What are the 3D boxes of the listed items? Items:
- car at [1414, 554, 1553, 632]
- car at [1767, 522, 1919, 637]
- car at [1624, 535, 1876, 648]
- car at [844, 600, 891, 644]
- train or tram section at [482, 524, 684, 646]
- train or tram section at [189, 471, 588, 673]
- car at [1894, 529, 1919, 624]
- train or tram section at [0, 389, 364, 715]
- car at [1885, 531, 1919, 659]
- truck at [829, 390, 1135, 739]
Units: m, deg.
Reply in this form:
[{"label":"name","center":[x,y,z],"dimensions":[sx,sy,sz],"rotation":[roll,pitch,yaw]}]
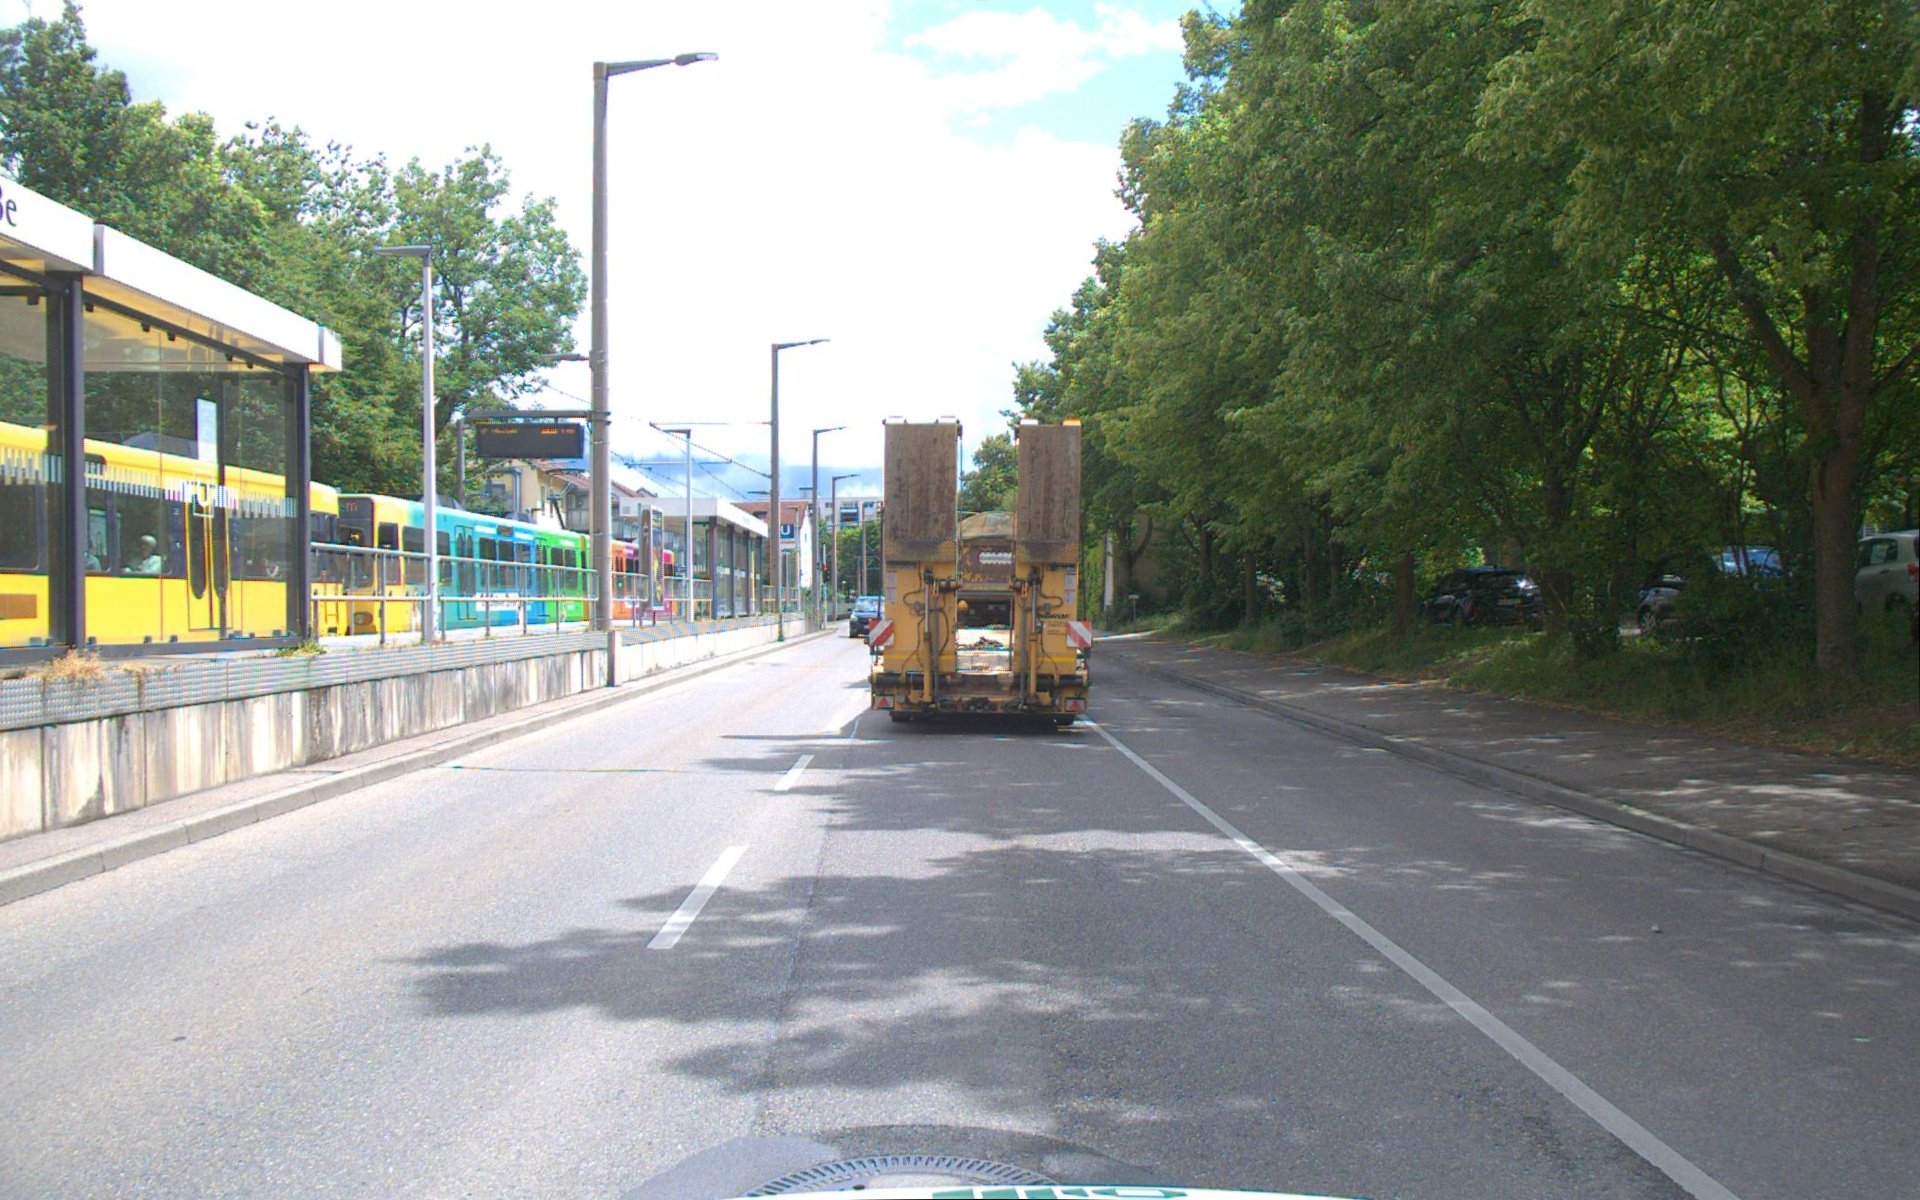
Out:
[{"label":"car","center":[11.551,-0.138,36.786],"dimensions":[1.680,1.534,4.159],"rotation":[-3,-1,0]},{"label":"car","center":[14.023,-0.305,24.969],"dimensions":[1.601,1.594,3.988],"rotation":[-2,0,-2]},{"label":"car","center":[11.751,-0.099,24.914],"dimensions":[1.761,1.489,3.988],"rotation":[-2,0,-2]},{"label":"car","center":[-3.723,0.876,67.023],"dimensions":[1.685,1.712,4.386],"rotation":[1,0,-1]},{"label":"train or tram section","center":[-12.673,-0.397,58.109],"dimensions":[3.045,3.525,19.084],"rotation":[1,0,-1]},{"label":"train or tram section","center":[-12.286,-0.468,38.938],"dimensions":[3.045,3.525,19.193],"rotation":[1,0,-1]},{"label":"car","center":[16.783,-0.460,26.164],"dimensions":[1.576,1.594,3.988],"rotation":[-4,0,-2]},{"label":"train or tram section","center":[-11.944,-0.539,19.834],"dimensions":[3.045,3.525,18.991],"rotation":[1,0,-1]},{"label":"car","center":[11.813,-0.096,17.429],"dimensions":[1.579,1.438,3.811],"rotation":[-3,0,-8]},{"label":"truck","center":[-0.156,-0.382,24.951],"dimensions":[3.335,3.798,13.728],"rotation":[-1,0,-3]}]
